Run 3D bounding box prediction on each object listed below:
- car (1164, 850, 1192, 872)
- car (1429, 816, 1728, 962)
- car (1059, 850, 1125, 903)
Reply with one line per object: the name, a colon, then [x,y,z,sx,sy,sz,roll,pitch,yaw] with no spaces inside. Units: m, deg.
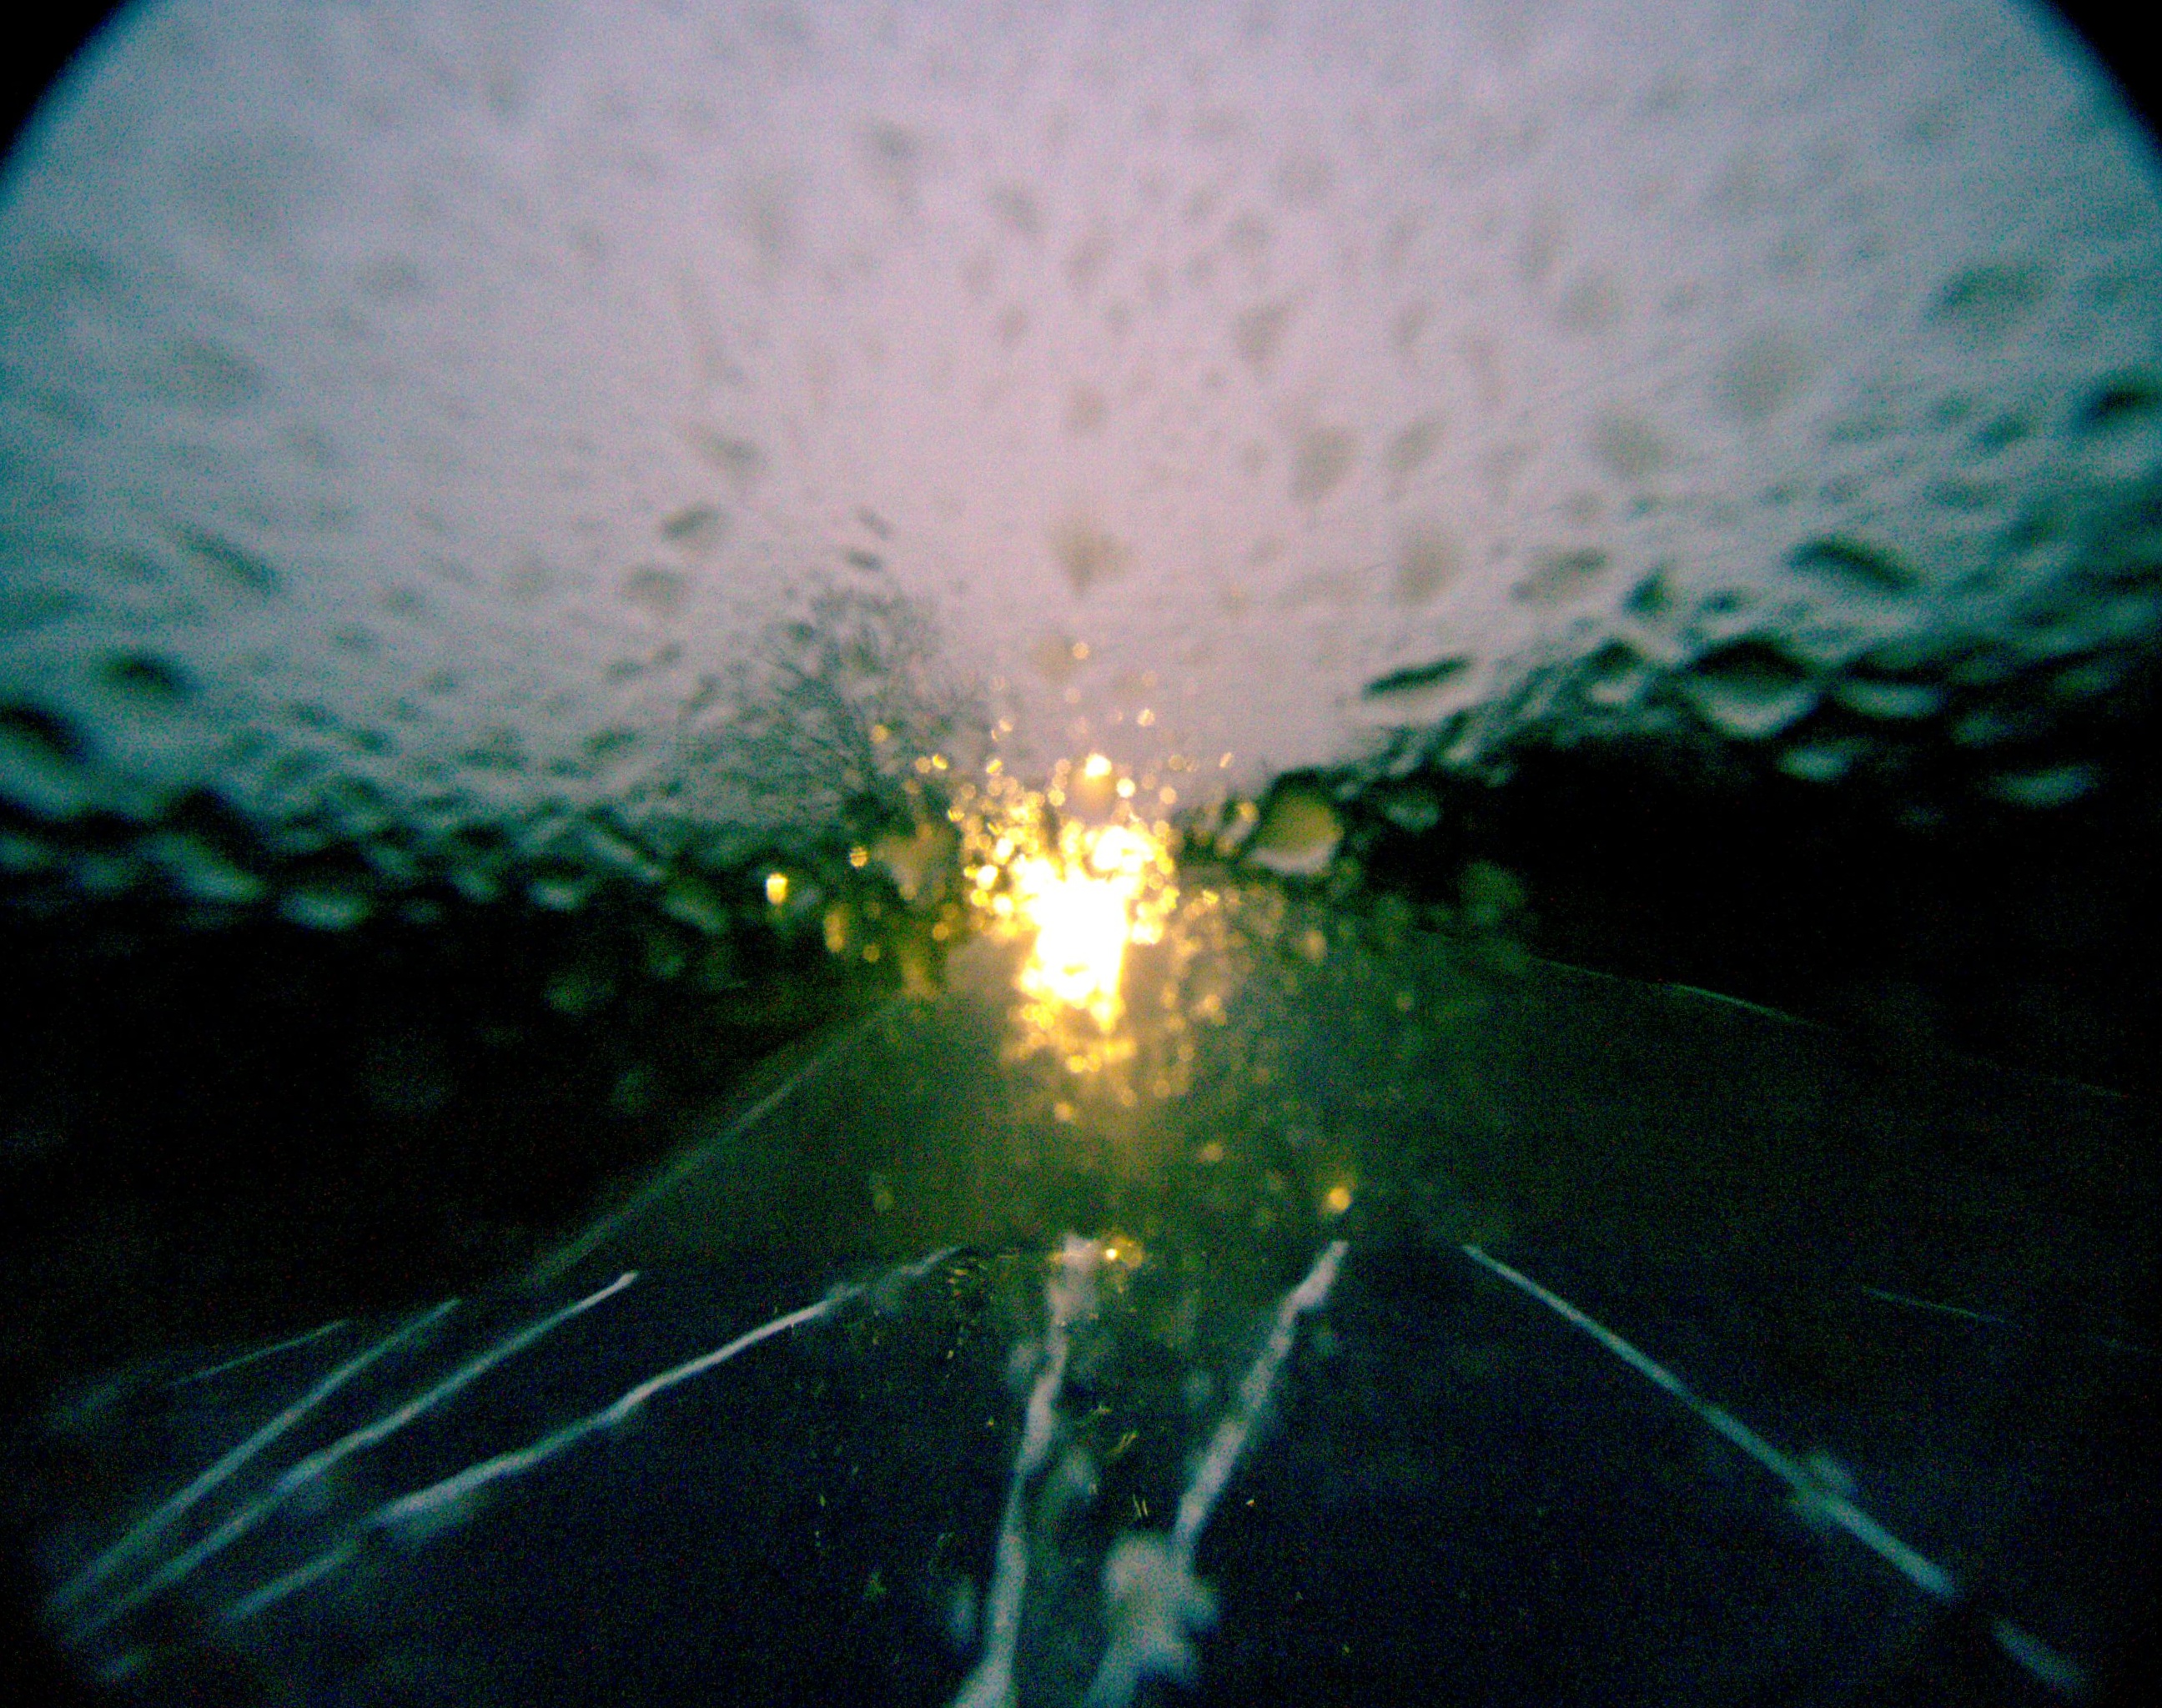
car: [7.560,0.535,59.750,1.780,1.599,3.773,-1,1,1]
car: [7.260,0.429,11.690,1.998,1.774,4.000,-3,1,1]
car: [0.463,0.713,26.336,1.998,1.601,4.001,-3,1,4]
